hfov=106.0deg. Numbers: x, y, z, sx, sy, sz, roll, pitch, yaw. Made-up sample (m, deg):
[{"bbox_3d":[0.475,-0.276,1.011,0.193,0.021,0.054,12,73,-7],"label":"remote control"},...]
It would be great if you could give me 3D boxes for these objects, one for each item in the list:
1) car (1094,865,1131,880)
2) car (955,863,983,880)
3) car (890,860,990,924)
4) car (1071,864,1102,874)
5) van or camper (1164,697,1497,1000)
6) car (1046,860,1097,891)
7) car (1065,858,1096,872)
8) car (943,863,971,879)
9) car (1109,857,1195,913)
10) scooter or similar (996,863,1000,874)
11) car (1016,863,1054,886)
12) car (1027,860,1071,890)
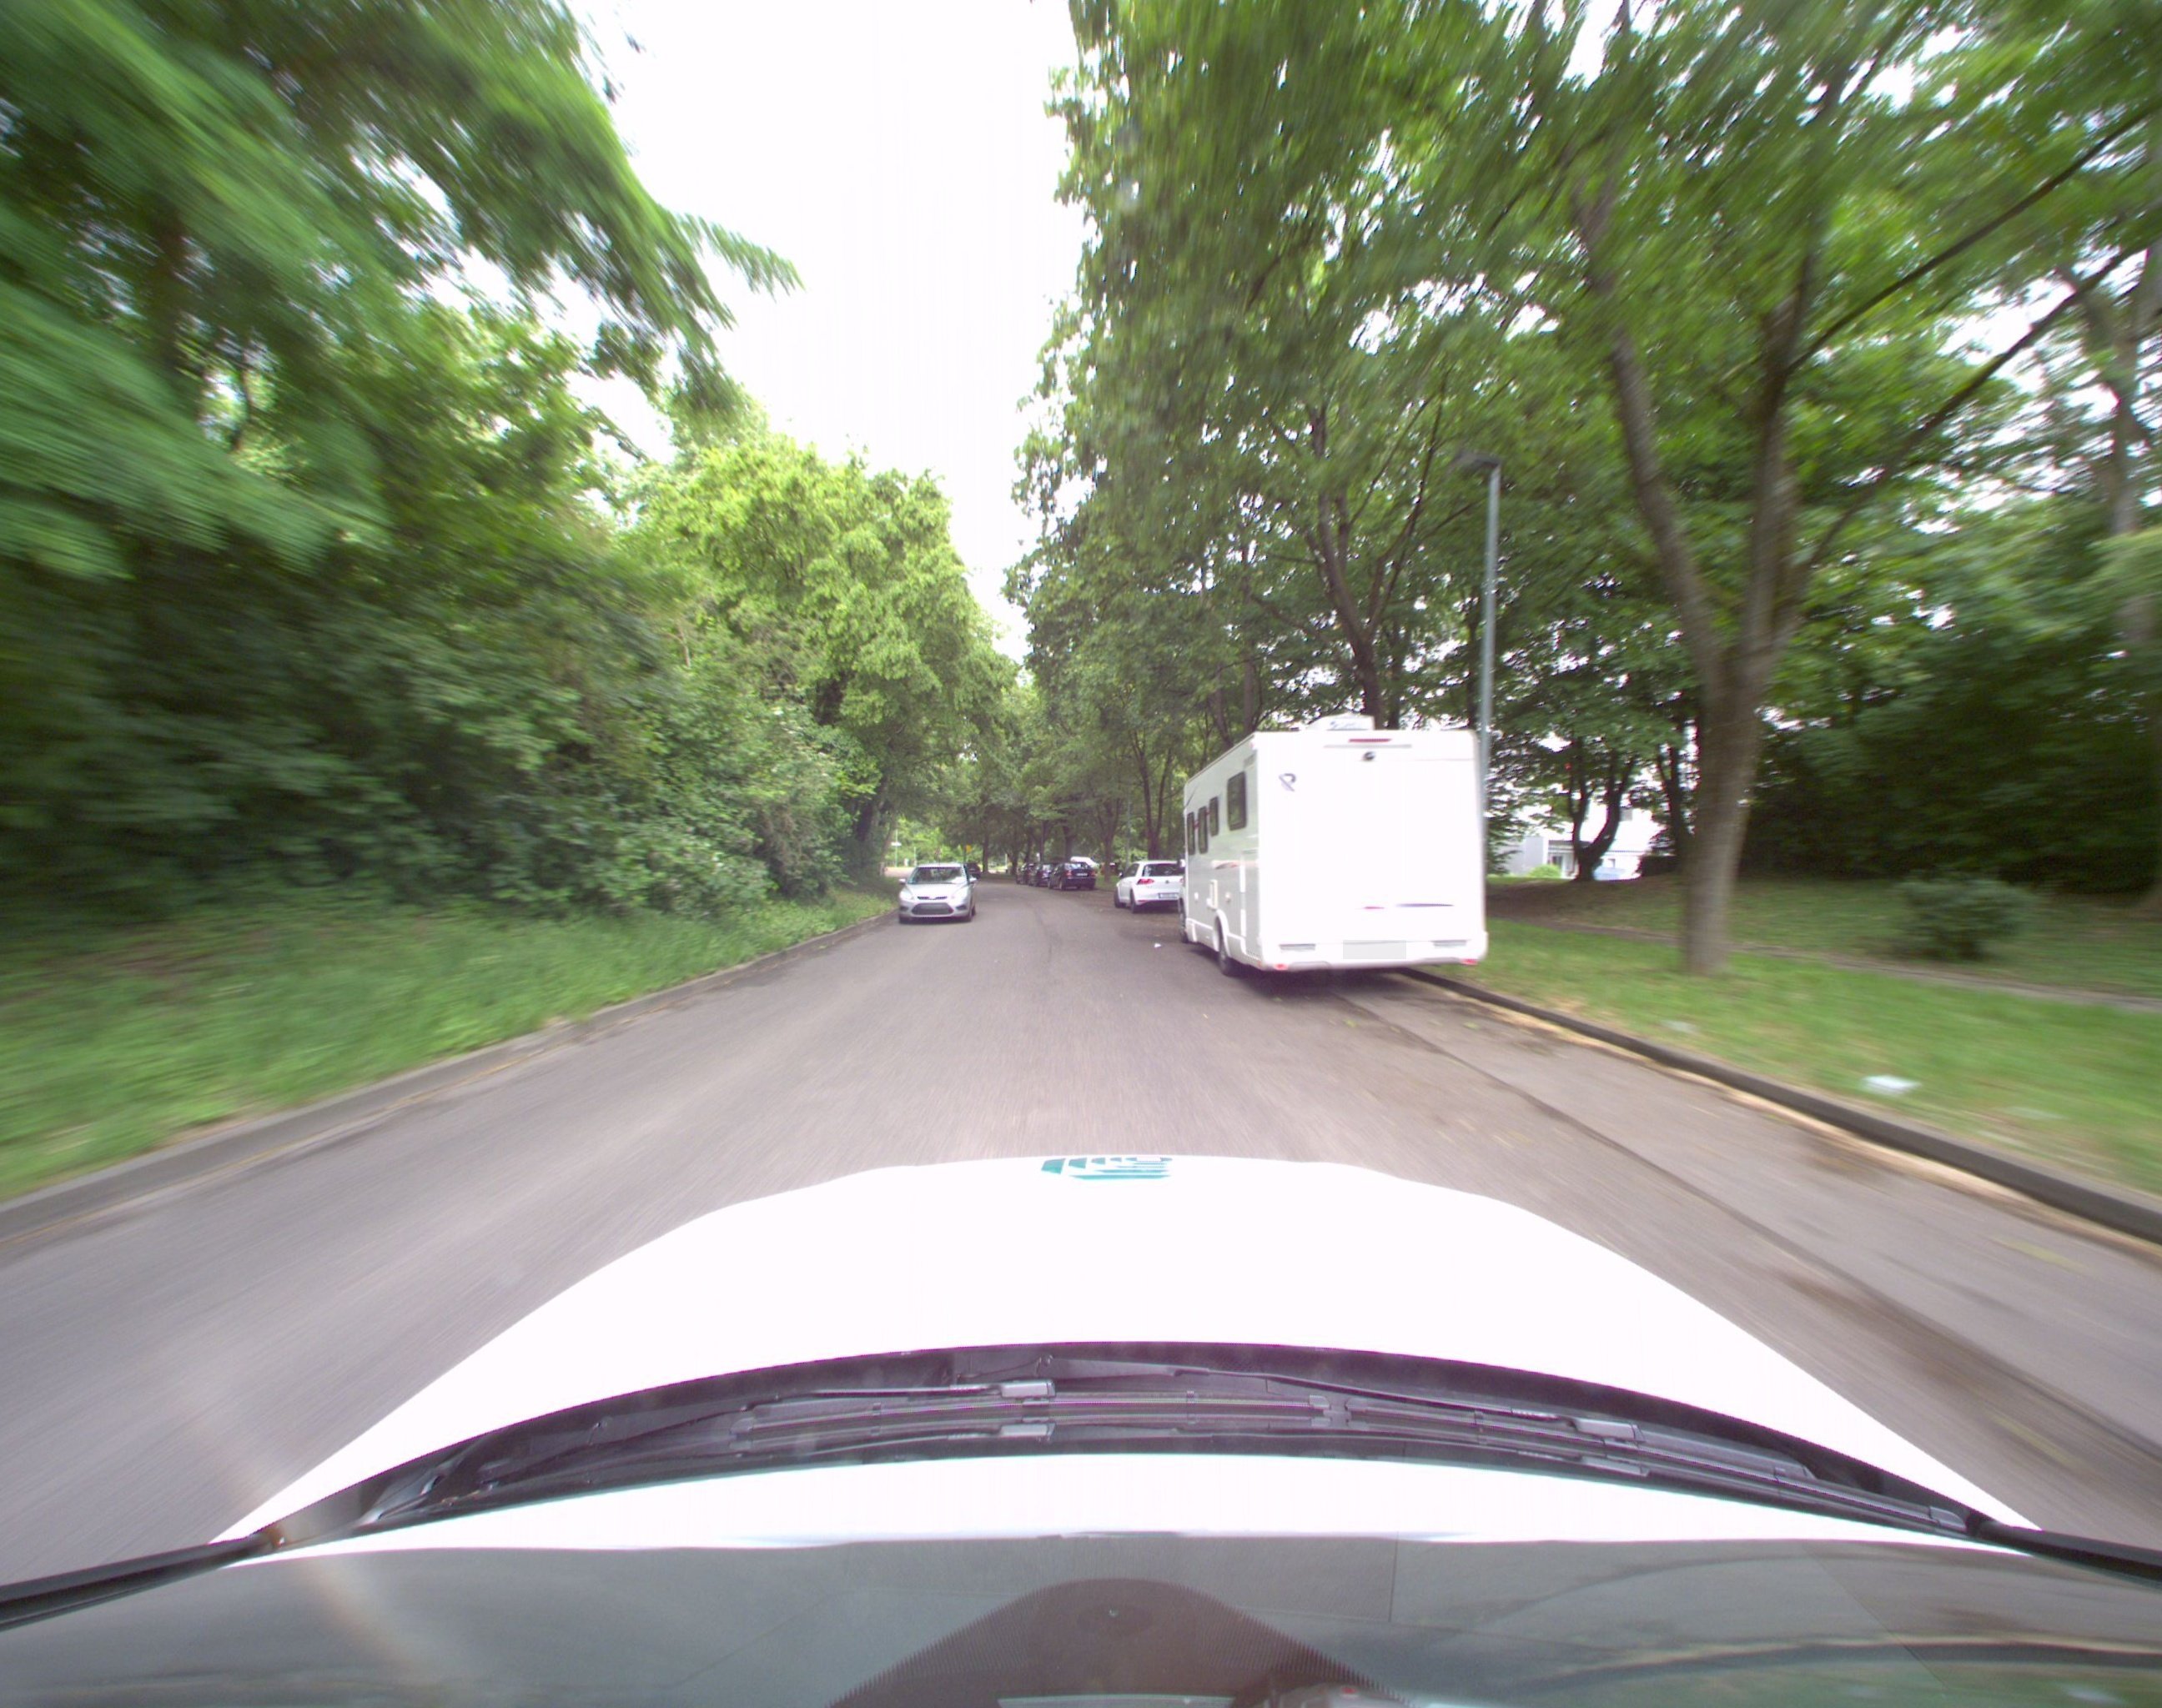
[{"bbox_3d":[4.019,2.401,103.928,4.401,1.848,1.824,1,0,-14],"label":"car"},{"bbox_3d":[-10.491,1.599,76.154,1.780,1.522,4.155,0,-1,-20],"label":"car"},{"bbox_3d":[-3.555,0.914,21.232,1.787,1.508,4.001,0,-1,2],"label":"car"},{"bbox_3d":[0.808,2.211,118.782,4.216,1.499,1.789,0,-1,-17],"label":"car"},{"bbox_3d":[2.845,-0.026,11.729,2.417,2.980,7.389,0,-1,-1],"label":"van or camper"},{"bbox_3d":[-0.540,1.048,40.767,1.592,1.465,4.294,0,0,-15],"label":"car"},{"bbox_3d":[-0.075,1.667,121.648,4.216,2.014,1.988,0,-1,-17],"label":"car"},{"bbox_3d":[-12.293,1.643,80.728,1.783,1.522,3.749,0,-1,-25],"label":"car"},{"bbox_3d":[1.984,0.850,23.959,1.687,1.482,4.095,0,-1,-8],"label":"car"},{"bbox_3d":[-10.112,1.737,99.013,0.284,1.287,1.100,1,-1,-20],"label":"scooter or similar"},{"bbox_3d":[-3.004,1.287,52.469,1.685,1.464,3.877,0,-1,-16],"label":"car"},{"bbox_3d":[-1.910,1.176,46.930,1.914,1.612,4.717,0,-1,-10],"label":"car"}]
